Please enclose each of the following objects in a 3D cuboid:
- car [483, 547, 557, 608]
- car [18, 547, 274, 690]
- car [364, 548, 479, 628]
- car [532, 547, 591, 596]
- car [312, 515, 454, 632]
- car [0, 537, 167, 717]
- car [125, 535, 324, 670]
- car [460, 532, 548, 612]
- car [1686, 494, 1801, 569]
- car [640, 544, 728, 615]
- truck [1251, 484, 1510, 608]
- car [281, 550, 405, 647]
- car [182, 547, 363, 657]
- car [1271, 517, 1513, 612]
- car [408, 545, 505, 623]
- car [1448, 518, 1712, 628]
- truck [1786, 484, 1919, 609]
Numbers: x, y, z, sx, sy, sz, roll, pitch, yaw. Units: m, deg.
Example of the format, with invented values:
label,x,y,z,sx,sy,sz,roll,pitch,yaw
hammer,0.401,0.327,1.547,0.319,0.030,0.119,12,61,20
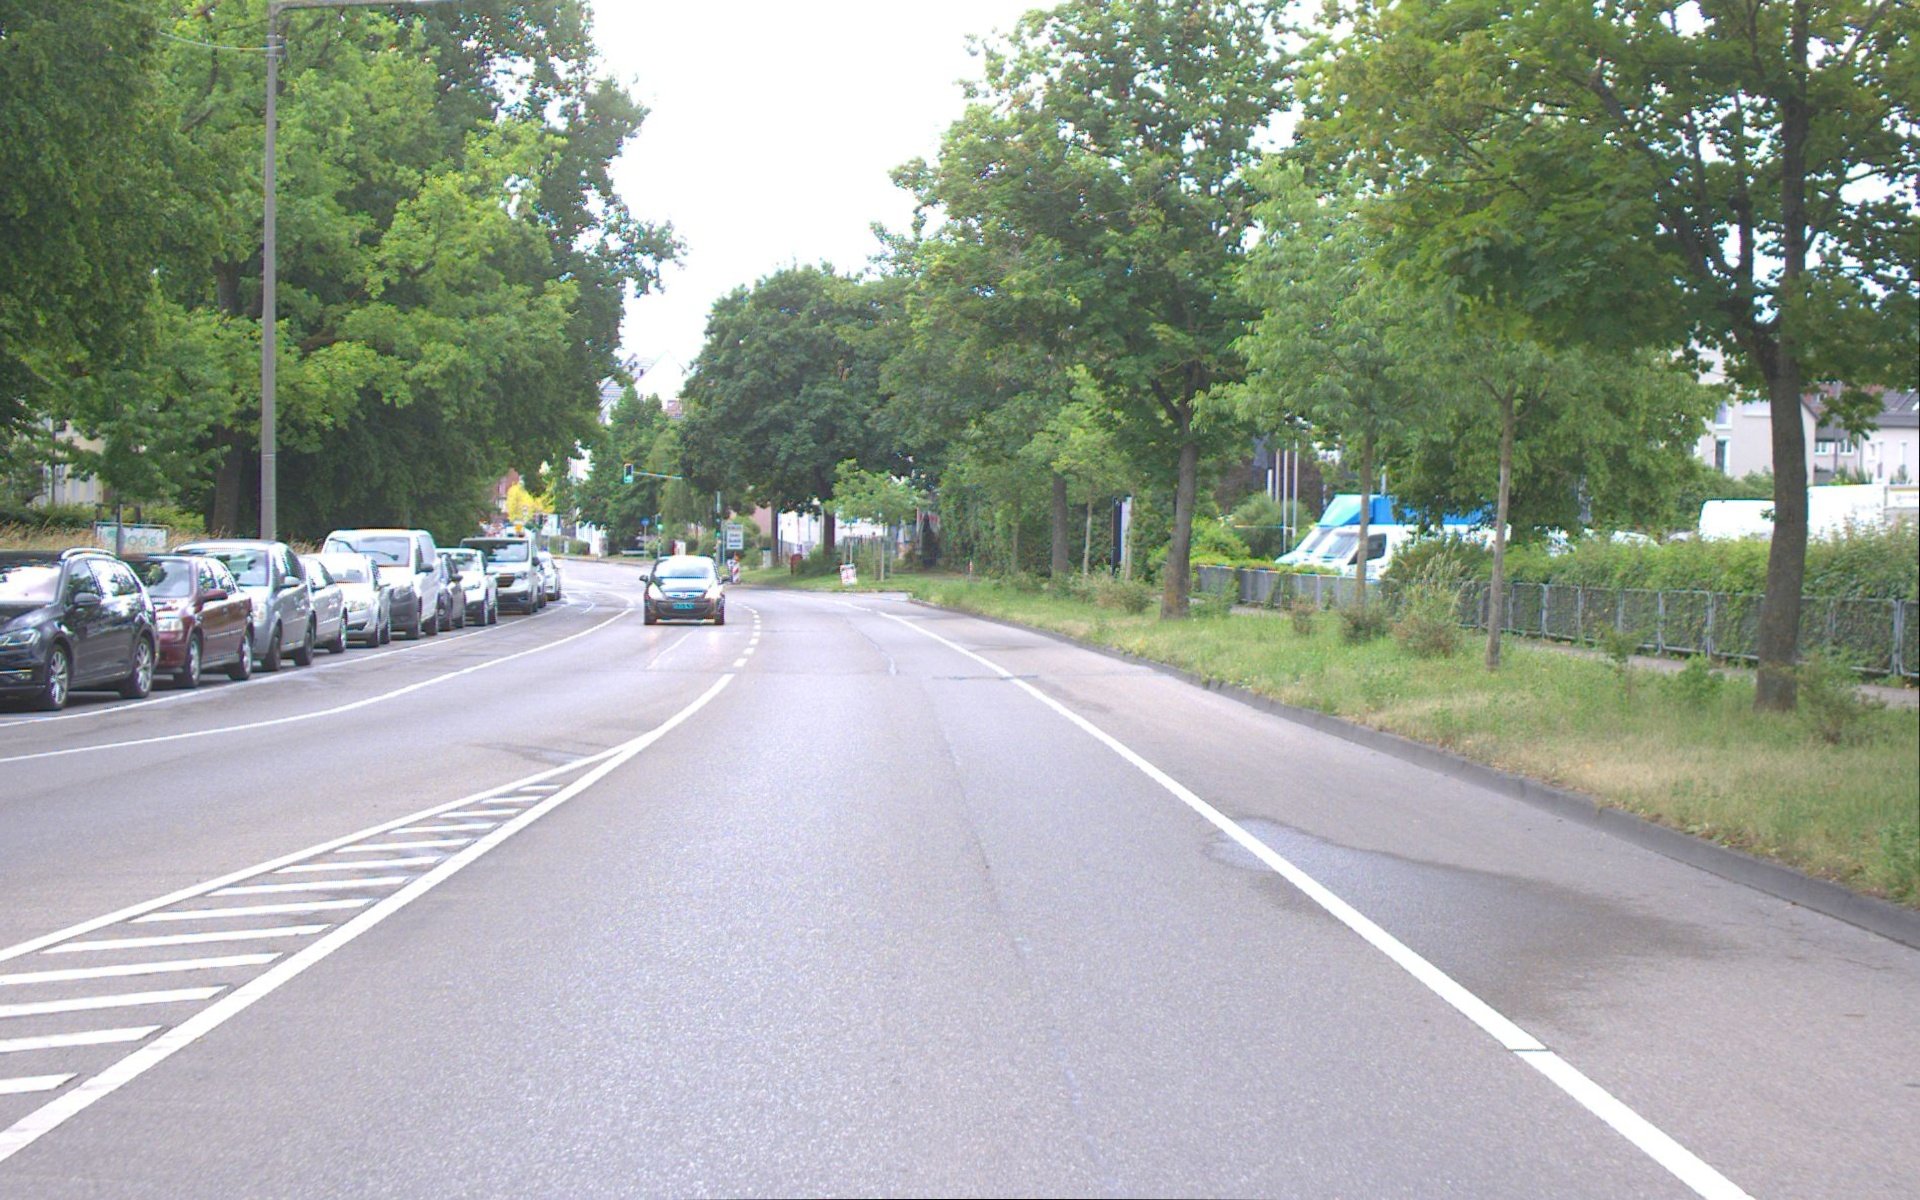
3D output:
label,x,y,z,sx,sy,sz,roll,pitch,yaw
car,-12.147,-0.629,95.132,1.766,1.628,4.158,0,1,-4
car,-8.812,0.155,37.529,1.768,1.442,4.150,0,1,1
car,-10.435,-0.248,66.862,1.673,1.483,4.045,-1,1,-1
car,-13.084,-0.933,113.138,1.767,1.568,4.760,0,0,-5
car,-10.102,-0.494,60.471,1.768,1.924,5.156,1,1,-2
car,-8.961,0.195,32.196,1.875,1.565,4.650,1,1,1
car,-9.089,-0.007,42.775,1.768,1.586,4.135,0,1,-3
car,-11.409,-0.713,86.247,1.866,1.957,5.127,0,1,-4
car,29.535,-2.612,129.510,2.260,2.667,5.439,2,3,36
car,-5.856,-0.438,73.272,1.637,1.462,4.000,-1,1,-1
truck,12.181,-1.558,99.356,7.162,3.465,2.619,0,1,-27
car,-9.753,-0.050,54.514,1.634,1.428,3.951,1,1,-6
car,-9.899,-0.005,49.804,1.768,1.490,4.357,-1,1,-1
car,11.494,-0.927,91.353,6.009,2.359,2.363,1,0,-26
car,-10.463,-0.344,71.620,1.673,1.559,4.282,0,1,-4
car,13.079,-0.572,72.455,5.243,2.180,2.072,1,0,-27
truck,26.818,-1.519,100.340,2.853,3.447,9.542,1,1,-1
